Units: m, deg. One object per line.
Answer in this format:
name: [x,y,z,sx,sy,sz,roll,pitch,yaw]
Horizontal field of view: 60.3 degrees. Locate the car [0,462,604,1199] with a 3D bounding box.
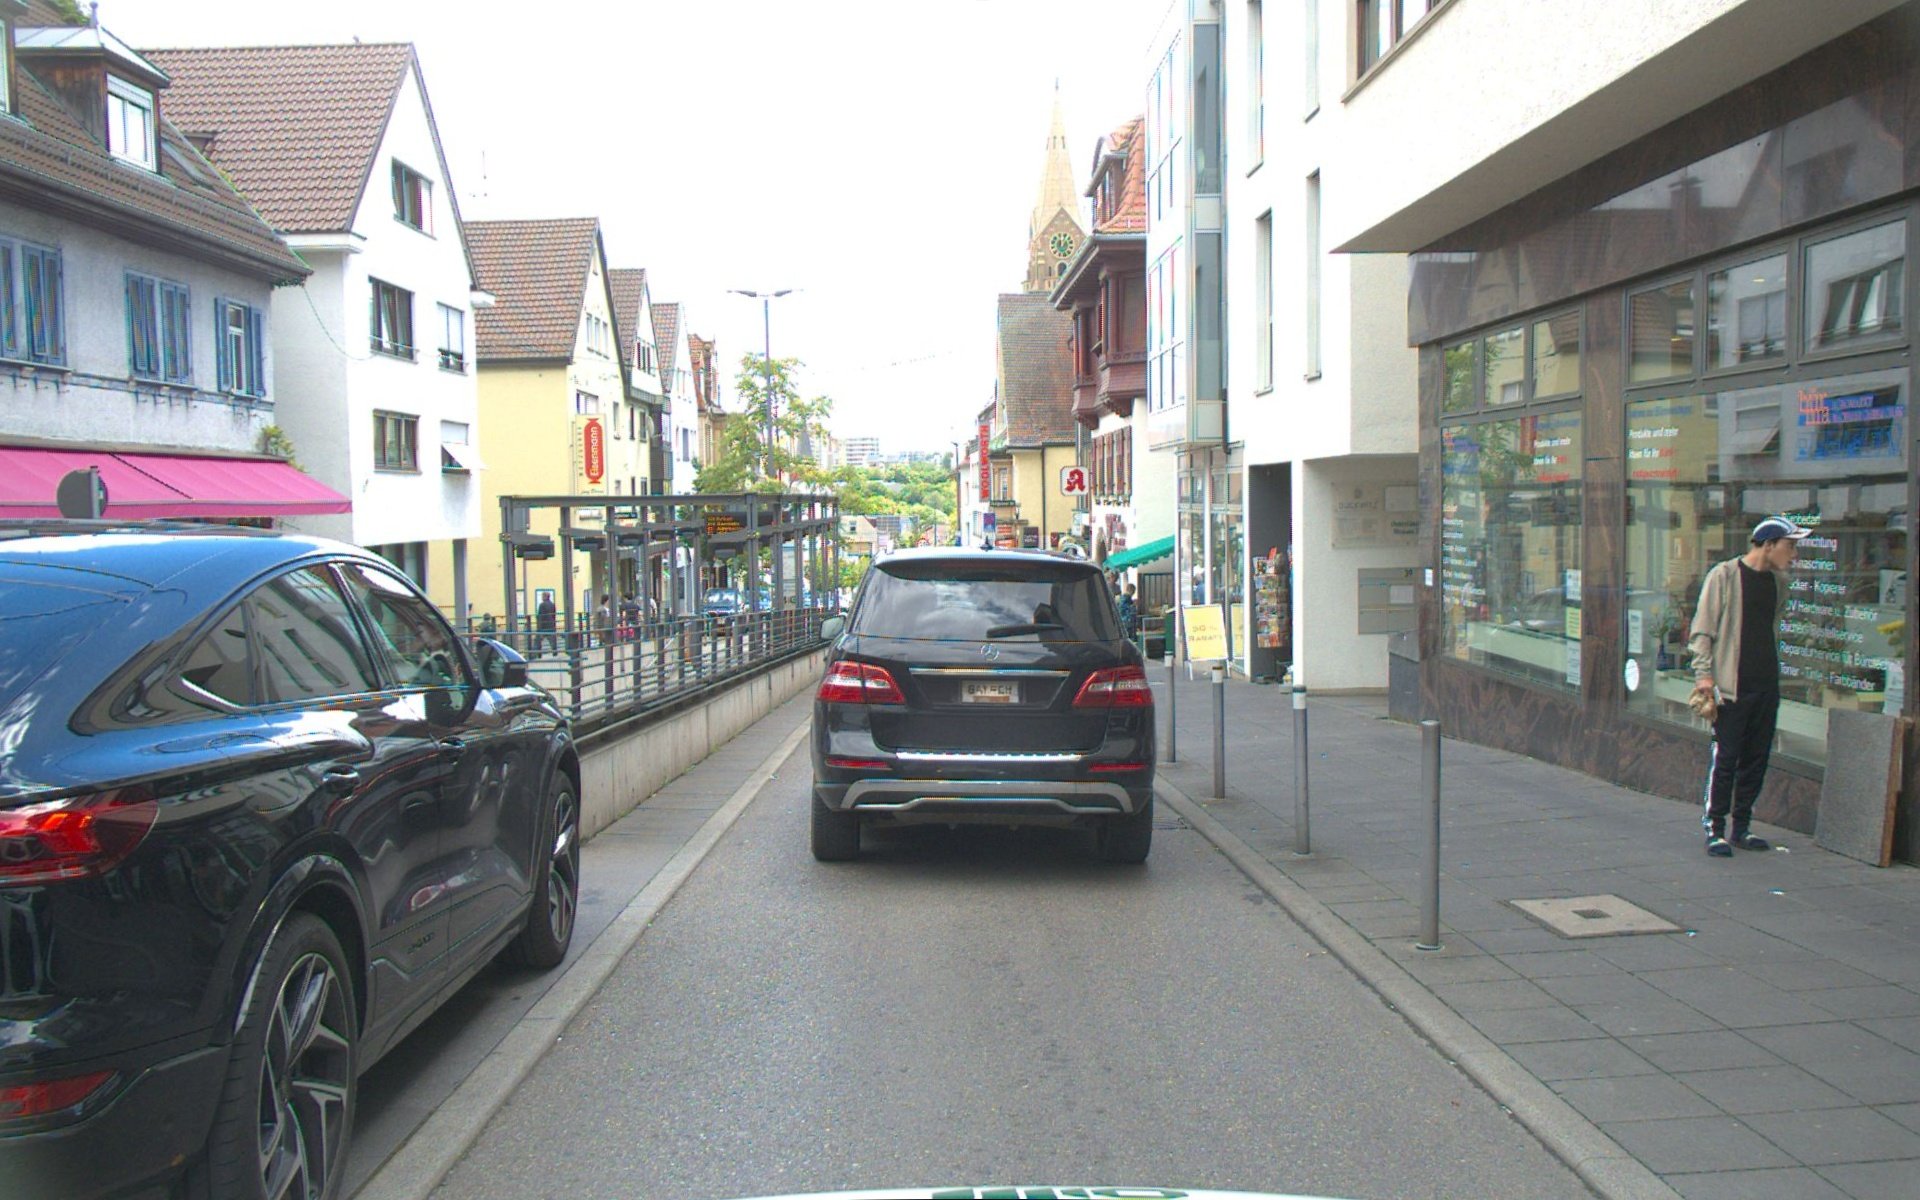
car: [-2.368,0.597,4.711,1.917,1.668,4.312,1,0,-2]

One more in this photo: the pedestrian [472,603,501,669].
pedestrian: [-10.612,0.801,37.068,0.447,1.446,0.533,1,0,1]

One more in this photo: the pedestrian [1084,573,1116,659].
pedestrian: [2.896,0.327,34.235,0.532,1.756,0.527,-1,0,-8]

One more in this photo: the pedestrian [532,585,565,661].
pedestrian: [-9.501,0.526,38.200,0.604,1.718,0.558,1,0,-27]

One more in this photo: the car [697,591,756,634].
car: [-8.541,0.442,60.674,1.655,1.516,3.978,1,0,-1]

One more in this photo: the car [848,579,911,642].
car: [-2.311,0.290,48.135,1.734,1.743,3.999,1,0,-2]

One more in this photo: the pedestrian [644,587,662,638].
pedestrian: [-10.433,0.434,56.247,0.502,1.718,0.541,1,0,-2]

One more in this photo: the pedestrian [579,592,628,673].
pedestrian: [-7.799,0.704,36.199,0.713,1.718,0.764,1,0,38]

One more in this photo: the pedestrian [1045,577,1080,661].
pedestrian: [2.136,0.387,34.457,0.609,1.718,0.565,1,0,-8]

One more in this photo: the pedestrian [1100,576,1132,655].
pedestrian: [3.443,0.342,36.490,0.562,1.718,0.565,-1,0,-8]

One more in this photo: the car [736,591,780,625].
car: [-9.452,0.358,77.613,1.627,1.516,3.747,1,0,-1]

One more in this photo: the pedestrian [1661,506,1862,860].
pedestrian: [4.116,0.407,8.521,0.650,1.718,0.542,-4,1,-8]

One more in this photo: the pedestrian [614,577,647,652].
pedestrian: [-7.694,0.328,38.638,0.613,1.718,0.678,1,0,-2]

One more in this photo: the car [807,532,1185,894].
car: [0.083,0.558,10.222,1.863,1.777,3.998,1,0,-3]

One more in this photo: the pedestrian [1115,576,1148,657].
pedestrian: [3.675,0.343,35.484,0.562,1.718,0.565,-1,0,-8]
